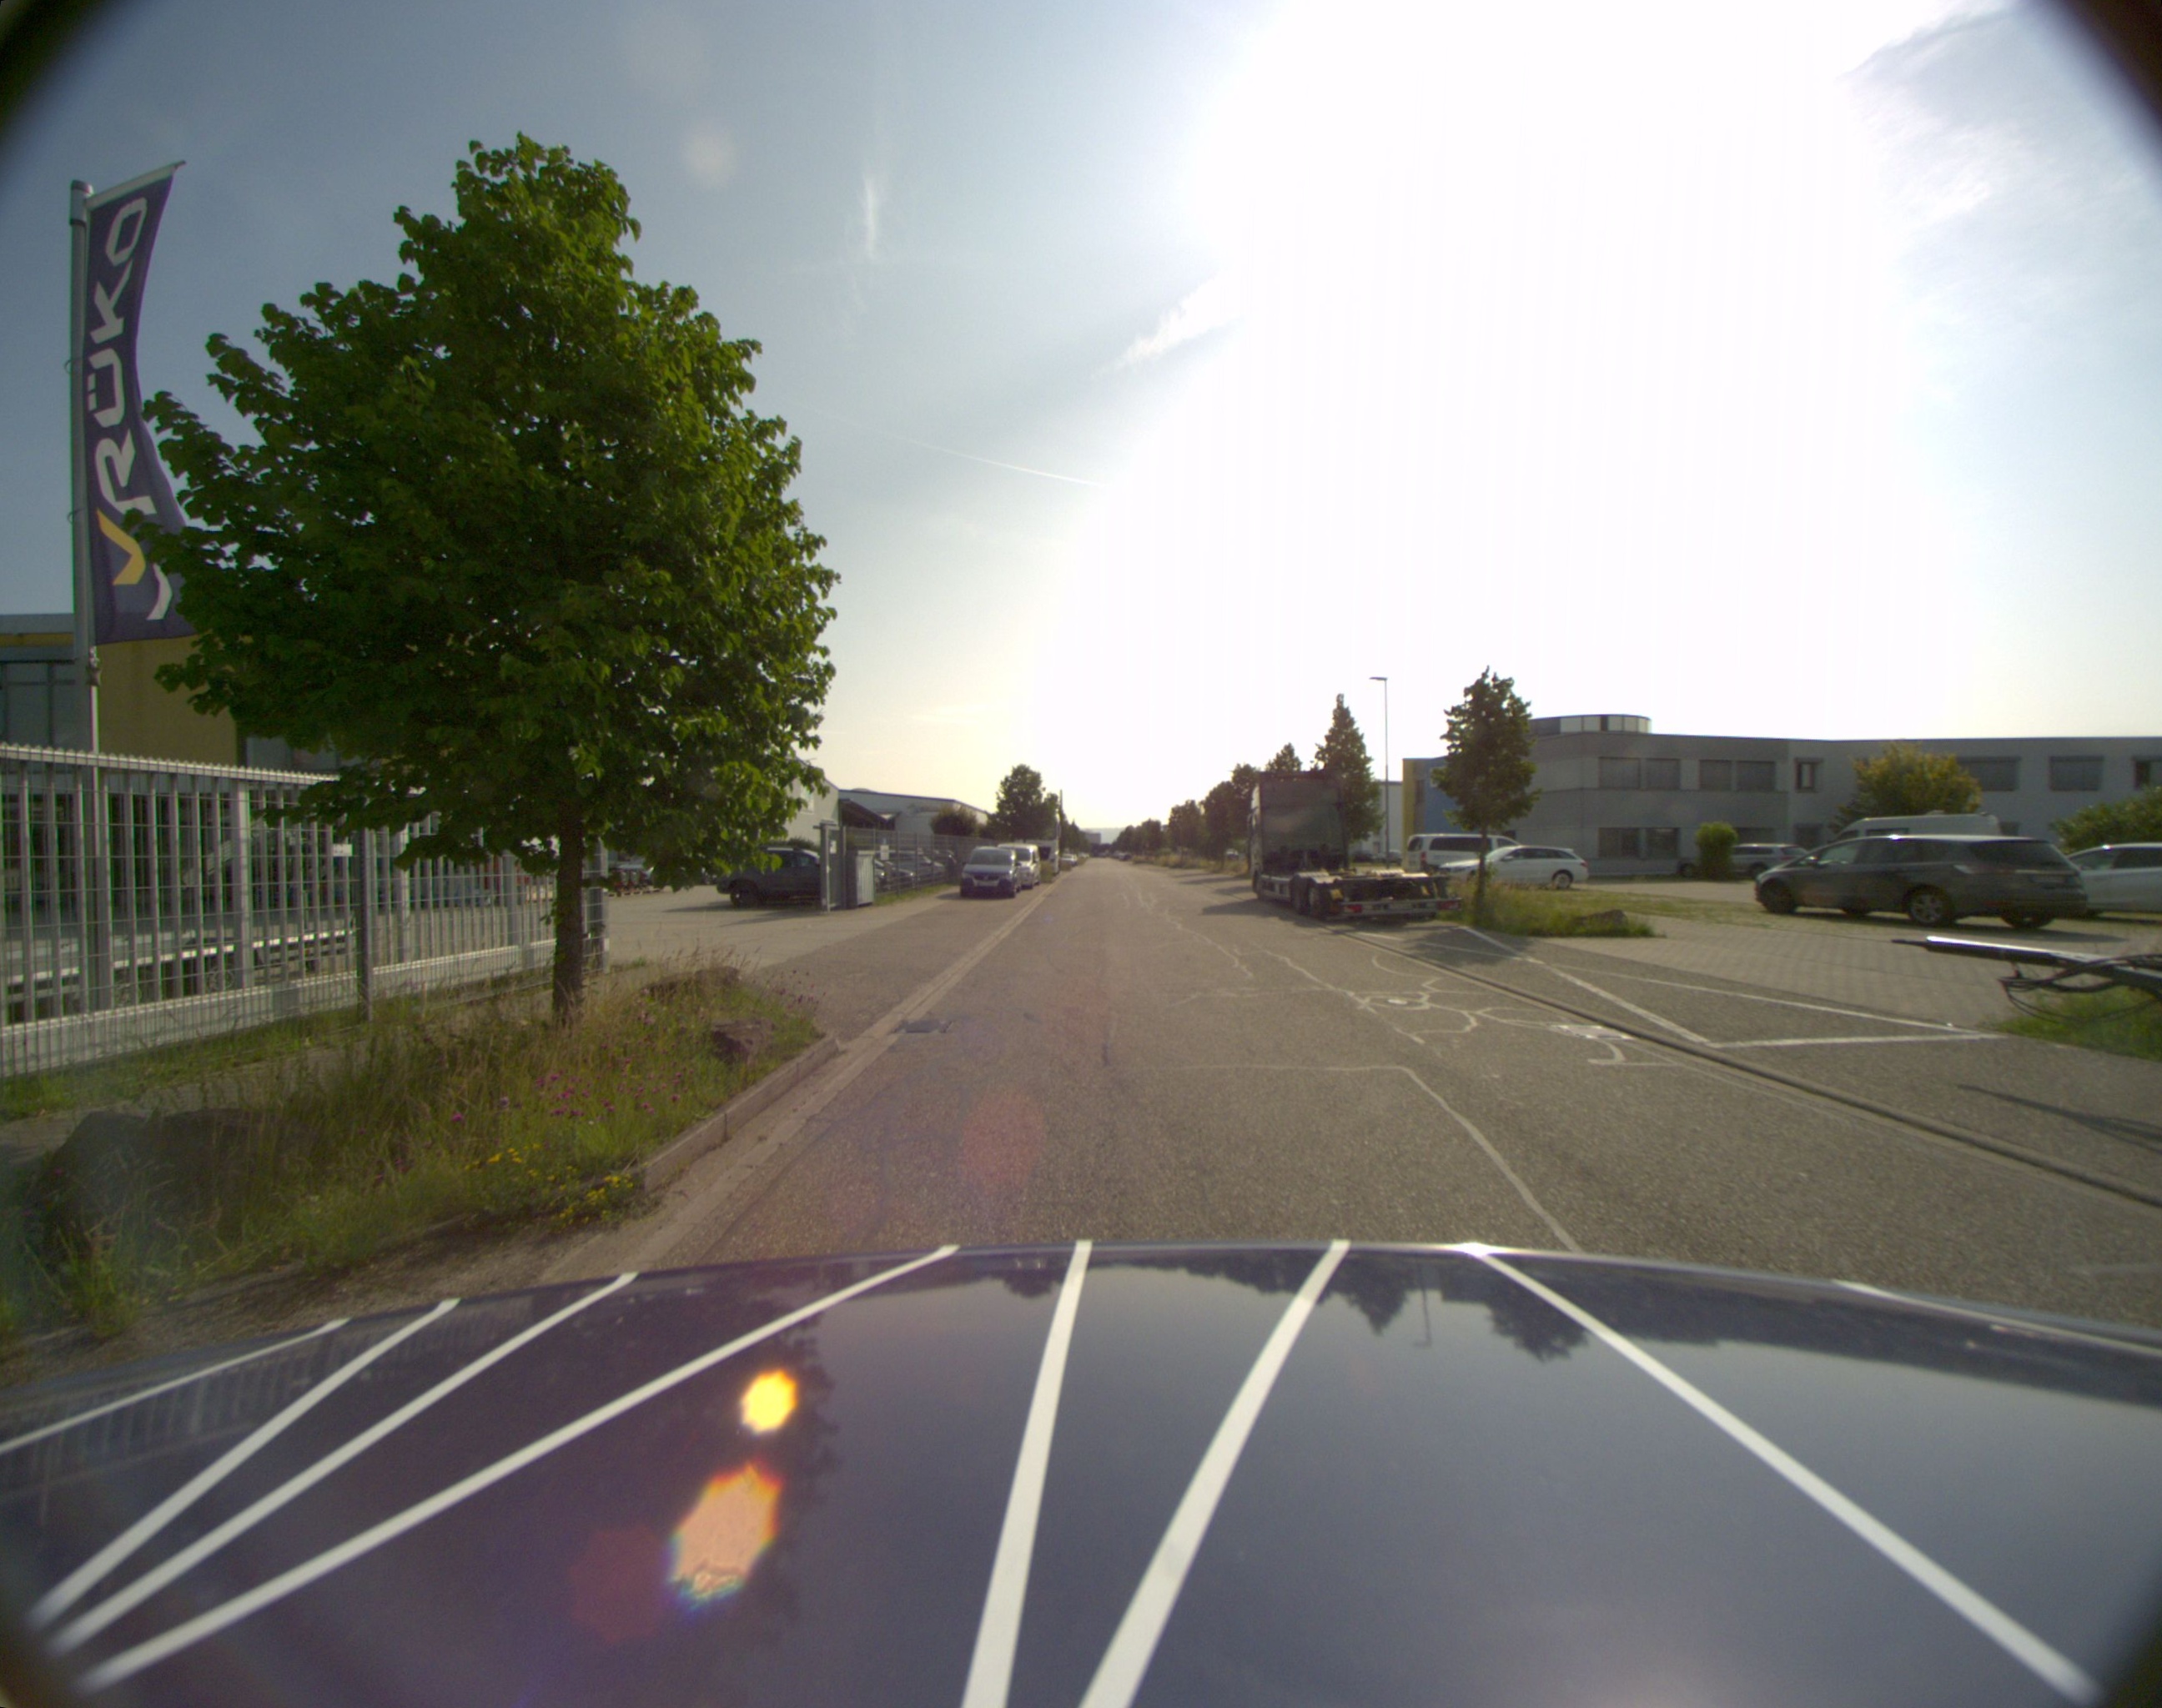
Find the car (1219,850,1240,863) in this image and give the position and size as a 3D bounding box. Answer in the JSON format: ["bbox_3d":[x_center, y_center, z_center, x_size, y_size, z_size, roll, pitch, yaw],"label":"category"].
[{"bbox_3d":[16.743,0.261,85.648,1.758,1.401,3.918,-1,0,2],"label":"car"}]

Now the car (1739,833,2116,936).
[{"bbox_3d":[15.724,0.487,14.639,1.999,1.677,4.698,0,0,0],"label":"car"}]

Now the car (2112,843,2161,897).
[{"bbox_3d":[30.770,0.449,19.920,1.709,1.507,4.213,0,0,0],"label":"car"}]

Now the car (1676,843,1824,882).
[{"bbox_3d":[27.742,0.293,31.730,1.580,1.473,4.518,-1,1,-14],"label":"car"}]

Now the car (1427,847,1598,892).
[{"bbox_3d":[14.673,0.504,26.033,4.739,1.423,2.000,-1,1,-1],"label":"car"}]

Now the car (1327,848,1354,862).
[{"bbox_3d":[28.972,0.086,84.971,1.758,1.459,3.918,-1,0,2],"label":"car"}]

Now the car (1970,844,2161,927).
[{"bbox_3d":[20.579,0.577,14.742,1.709,1.507,4.213,0,0,0],"label":"car"}]

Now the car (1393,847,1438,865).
[{"bbox_3d":[27.698,0.158,63.076,1.719,1.452,4.782,-1,0,1],"label":"car"}]

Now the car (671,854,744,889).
[{"bbox_3d":[-19.540,0.875,39.979,1.894,1.681,4.369,-1,0,-4],"label":"car"}]

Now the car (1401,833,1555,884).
[{"bbox_3d":[14.881,0.161,28.688,4.715,1.825,2.103,0,0,1],"label":"car"}]

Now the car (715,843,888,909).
[{"bbox_3d":[-7.818,0.581,21.603,4.237,1.727,1.898,-1,1,-6],"label":"car"}]

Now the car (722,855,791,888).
[{"bbox_3d":[-16.584,0.859,39.048,1.894,1.547,4.369,-1,0,-4],"label":"car"}]

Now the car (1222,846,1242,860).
[{"bbox_3d":[20.974,-0.124,105.753,1.998,1.827,4.696,-1,0,3],"label":"car"}]

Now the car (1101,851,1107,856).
[{"bbox_3d":[7.234,-0.280,241.772,1.668,1.495,3.540,-1,1,1],"label":"car"}]

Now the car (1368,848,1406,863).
[{"bbox_3d":[29.449,0.126,73.217,1.737,1.364,4.381,-1,0,-2],"label":"car"}]

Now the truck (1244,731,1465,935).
[{"bbox_3d":[6.351,-0.488,19.627,2.461,3.859,9.802,-2,1,3],"label":"truck"}]

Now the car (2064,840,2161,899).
[{"bbox_3d":[28.589,0.398,19.317,1.709,1.507,4.213,0,0,0],"label":"car"}]

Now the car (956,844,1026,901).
[{"bbox_3d":[-2.976,0.547,25.929,1.830,1.710,4.248,-1,1,0],"label":"car"}]

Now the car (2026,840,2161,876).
[{"bbox_3d":[44.196,0.123,33.022,1.578,1.456,3.727,0,1,-1],"label":"car"}]

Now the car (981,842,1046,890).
[{"bbox_3d":[-2.675,0.430,31.059,1.998,1.779,4.599,-1,1,3],"label":"car"}]

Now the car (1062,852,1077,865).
[{"bbox_3d":[-1.296,0.555,89.585,1.668,1.495,3.541,1,0,1],"label":"car"}]

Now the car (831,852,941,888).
[{"bbox_3d":[-7.786,0.616,30.624,3.998,1.363,1.790,0,0,-3],"label":"car"}]

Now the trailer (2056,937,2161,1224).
[{"bbox_3d":[5.760,0.987,0.117,2.135,1.225,7.158,-2,0,2],"label":"trailer"}]

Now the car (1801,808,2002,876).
[{"bbox_3d":[35.095,-0.523,32.811,1.712,2.679,5.743,-1,1,-16],"label":"car"}]

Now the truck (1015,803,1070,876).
[{"bbox_3d":[-2.215,-0.817,47.213,2.752,3.992,9.686,1,0,1],"label":"truck"}]

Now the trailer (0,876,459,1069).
[{"bbox_3d":[-9.439,1.014,7.914,1.998,1.303,4.563,-1,1,2],"label":"trailer"}]

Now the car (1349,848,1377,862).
[{"bbox_3d":[31.348,0.076,84.602,1.758,1.459,3.918,-1,0,2],"label":"car"}]

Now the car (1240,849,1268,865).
[{"bbox_3d":[16.677,0.297,73.387,1.790,1.441,3.918,-1,0,0],"label":"car"}]

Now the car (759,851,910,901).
[{"bbox_3d":[-7.834,0.691,24.458,4.236,1.487,1.899,-1,0,-2],"label":"car"}]
